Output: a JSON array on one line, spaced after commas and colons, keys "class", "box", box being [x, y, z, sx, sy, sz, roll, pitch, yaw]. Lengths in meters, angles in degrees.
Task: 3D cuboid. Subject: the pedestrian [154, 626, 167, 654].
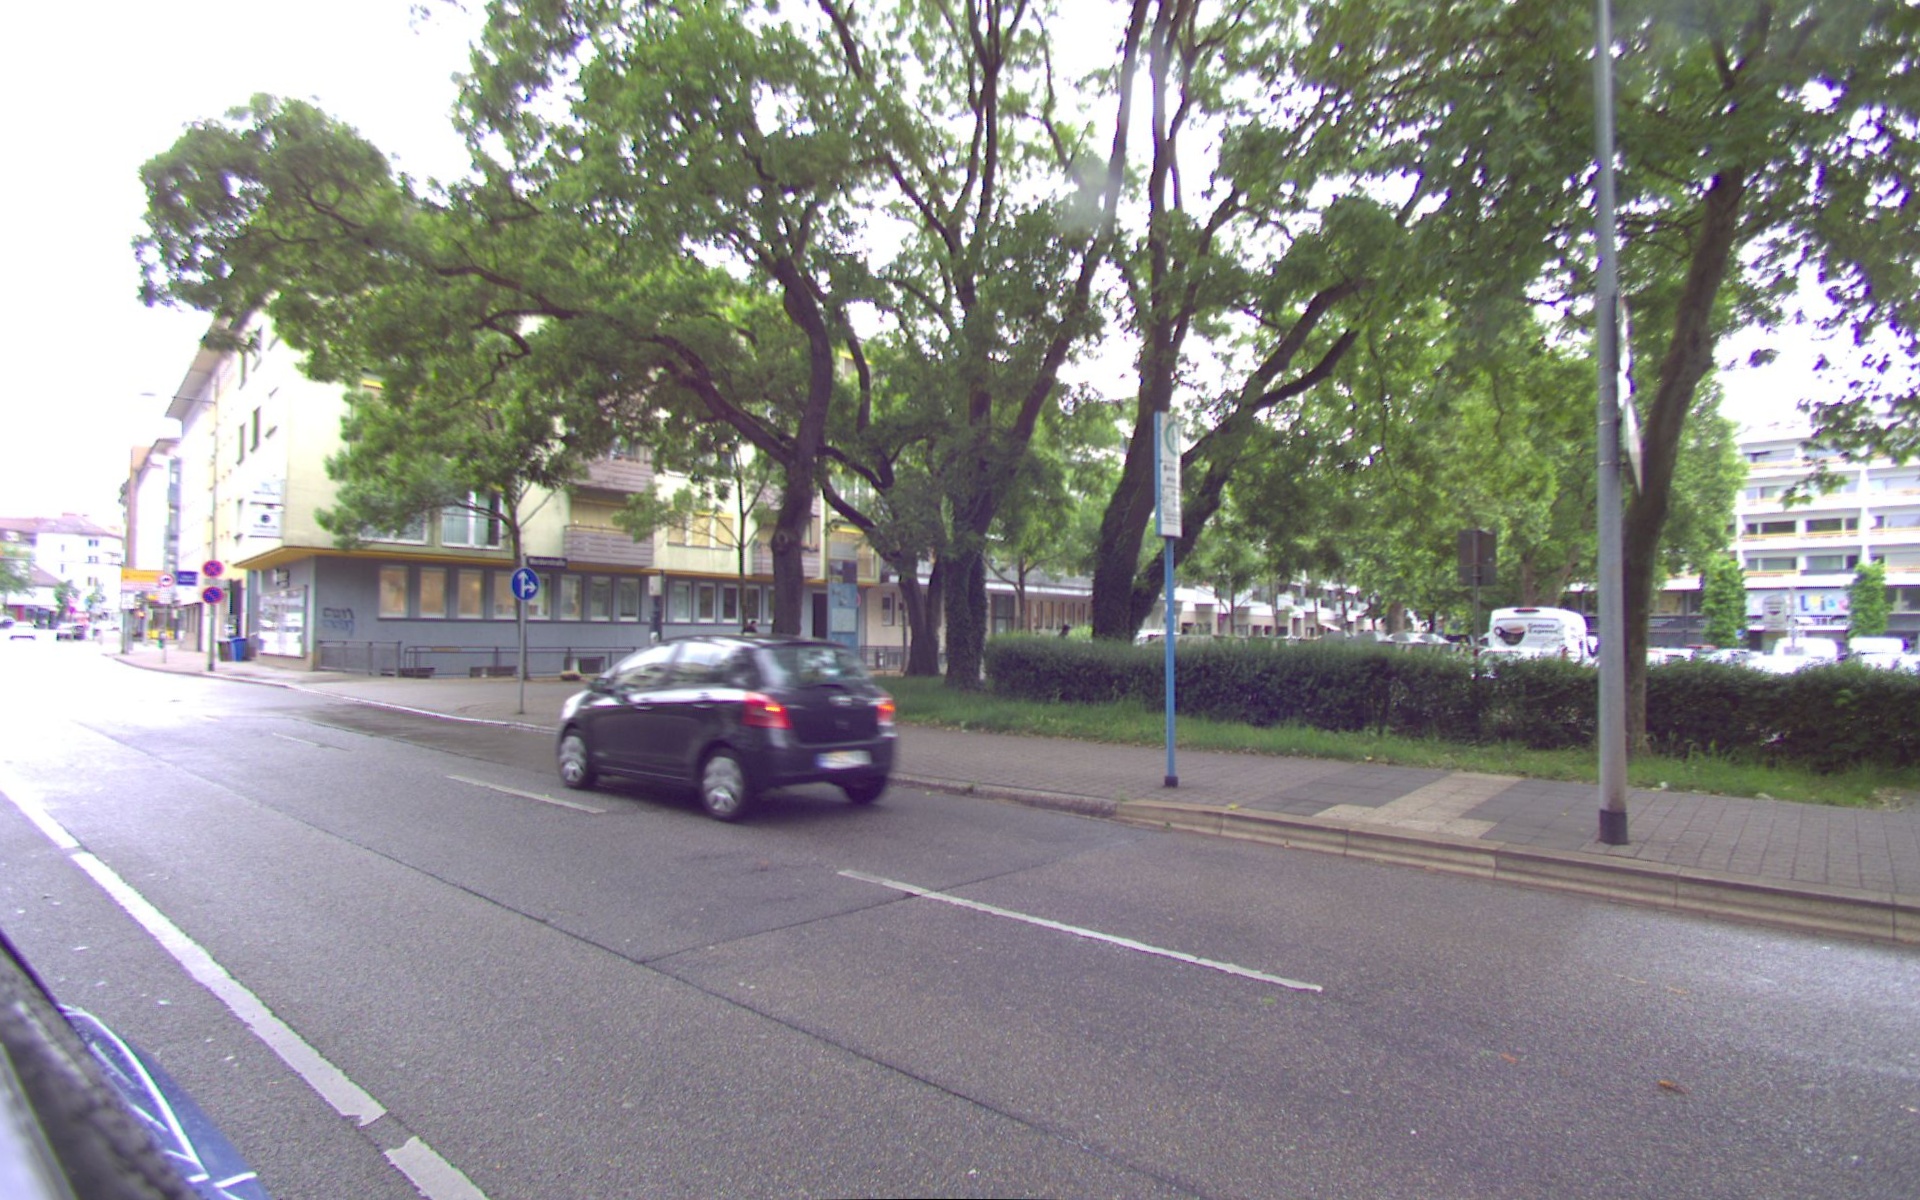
[{"class": "pedestrian", "box": [-53.861, 2.698, 68.215, 0.586, 1.858, 0.565, 3, -4, -42]}]

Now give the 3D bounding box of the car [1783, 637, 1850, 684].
[{"class": "car", "box": [28.178, 1.961, 33.342, 1.604, 1.439, 3.275, -1, -3, 40]}]

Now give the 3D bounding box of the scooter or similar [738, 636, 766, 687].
[{"class": "scooter or similar", "box": [-5.887, 1.728, 28.620, 0.666, 1.392, 0.670, -1, -2, -17]}]

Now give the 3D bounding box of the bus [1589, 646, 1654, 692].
[{"class": "bus", "box": [24.205, 2.492, 37.017, 1.604, 1.551, 3.385, -1, -3, 40]}]

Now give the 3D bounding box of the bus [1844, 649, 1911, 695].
[{"class": "bus", "box": [33.161, 2.571, 36.647, 1.604, 1.551, 3.385, -1, -3, 40]}]

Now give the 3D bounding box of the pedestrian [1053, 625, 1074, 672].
[{"class": "pedestrian", "box": [2.769, 1.288, 27.093, 0.482, 1.222, 0.435, -1, 0, 19]}]

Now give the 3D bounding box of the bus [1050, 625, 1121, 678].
[{"class": "bus", "box": [4.841, 1.963, 38.677, 1.703, 1.939, 3.697, 0, -3, 24]}]

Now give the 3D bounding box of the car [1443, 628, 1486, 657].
[{"class": "car", "box": [27.251, 2.288, 54.649, 1.428, 1.439, 2.926, -2, -1, 40]}]

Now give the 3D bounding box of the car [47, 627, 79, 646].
[{"class": "car", "box": [-82.284, 3.365, 92.836, 4.002, 1.730, 1.863, -2, -4, 45]}]

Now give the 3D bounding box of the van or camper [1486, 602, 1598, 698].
[{"class": "van or camper", "box": [16.851, 1.425, 29.201, 2.097, 2.556, 4.367, -1, -3, 40]}]

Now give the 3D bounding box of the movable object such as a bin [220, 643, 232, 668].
[{"class": "movable object such as a bin", "box": [-30.199, 2.273, 41.620, 0.333, 1.037, 0.354, 3, -4, -42]}]

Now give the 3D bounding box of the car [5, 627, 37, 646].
[{"class": "car", "box": [-84.084, 3.291, 90.604, 4.002, 1.670, 1.842, -2, -4, 45]}]

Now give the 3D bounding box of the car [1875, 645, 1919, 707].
[{"class": "car", "box": [23.420, 1.851, 24.797, 1.391, 1.446, 3.227, -2, -4, 41]}]

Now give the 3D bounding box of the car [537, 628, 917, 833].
[{"class": "car", "box": [-2.222, 1.033, 9.213, 3.565, 1.500, 1.551, -1, -4, 41]}]

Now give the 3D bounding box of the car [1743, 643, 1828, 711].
[{"class": "car", "box": [19.242, 1.751, 23.554, 1.391, 1.446, 3.227, -2, -4, 41]}]

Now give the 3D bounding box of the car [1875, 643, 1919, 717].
[{"class": "car", "box": [19.933, 1.631, 20.933, 1.391, 1.446, 3.227, -2, -4, 41]}]

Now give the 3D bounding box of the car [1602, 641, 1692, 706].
[{"class": "car", "box": [16.737, 1.755, 24.609, 1.391, 1.446, 3.227, -2, -4, 41]}]

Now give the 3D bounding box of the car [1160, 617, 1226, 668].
[{"class": "car", "box": [9.852, 1.804, 42.616, 1.988, 2.029, 3.967, 0, -3, 24]}]

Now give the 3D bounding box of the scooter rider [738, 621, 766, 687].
[{"class": "scooter rider", "box": [-5.883, 1.514, 28.632, 0.700, 1.831, 0.700, -1, -3, -17]}]

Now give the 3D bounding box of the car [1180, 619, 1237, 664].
[{"class": "car", "box": [11.855, 1.976, 48.174, 1.988, 2.029, 3.967, 0, -3, 24]}]

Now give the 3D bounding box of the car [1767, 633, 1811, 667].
[{"class": "car", "box": [41.989, 2.500, 51.291, 1.639, 1.536, 3.161, -1, 0, 38]}]

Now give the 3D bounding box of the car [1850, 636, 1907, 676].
[{"class": "car", "box": [40.334, 2.422, 44.488, 1.639, 1.536, 3.161, -1, 0, 38]}]

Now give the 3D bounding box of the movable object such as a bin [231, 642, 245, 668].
[{"class": "movable object such as a bin", "box": [-29.845, 2.271, 41.846, 0.409, 1.037, 0.354, 3, -4, -42]}]
